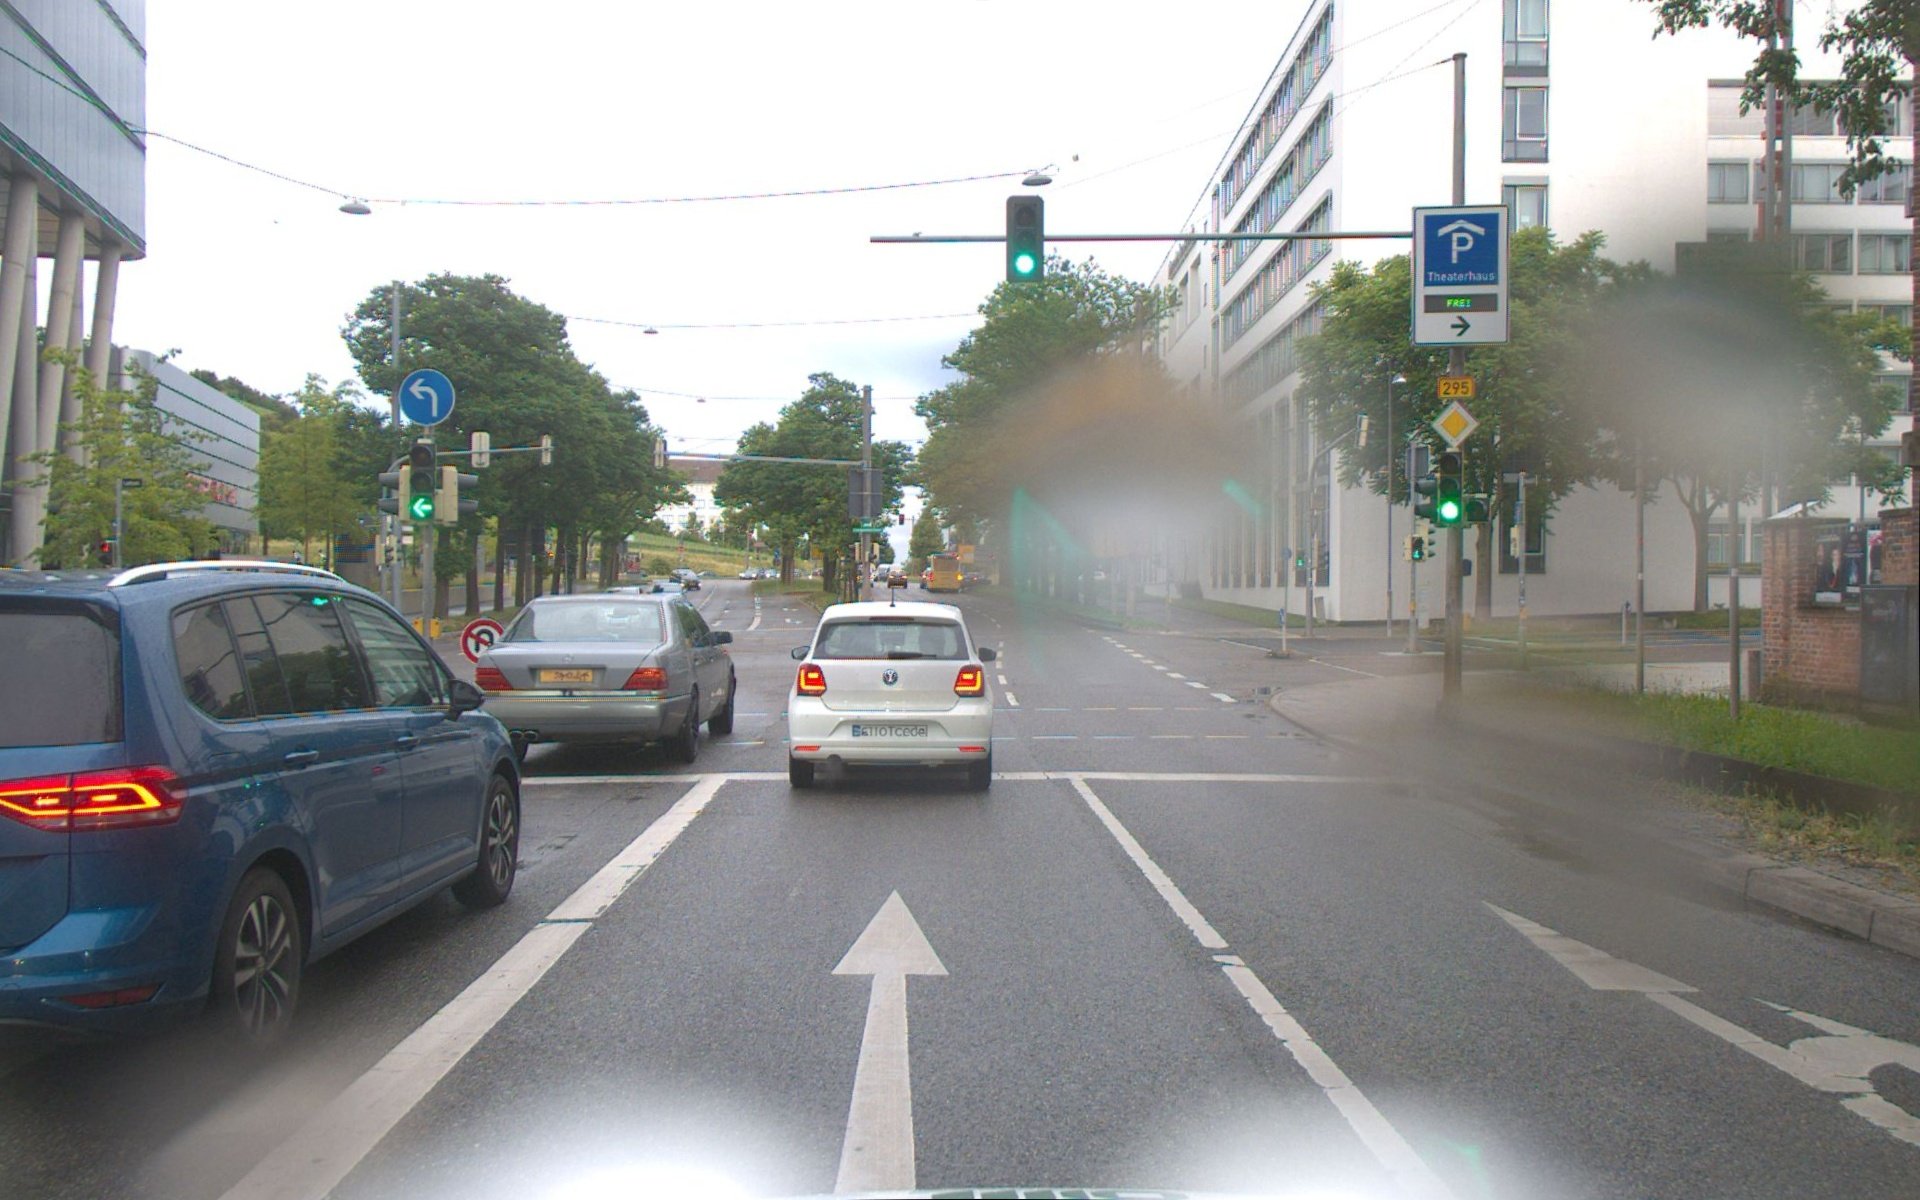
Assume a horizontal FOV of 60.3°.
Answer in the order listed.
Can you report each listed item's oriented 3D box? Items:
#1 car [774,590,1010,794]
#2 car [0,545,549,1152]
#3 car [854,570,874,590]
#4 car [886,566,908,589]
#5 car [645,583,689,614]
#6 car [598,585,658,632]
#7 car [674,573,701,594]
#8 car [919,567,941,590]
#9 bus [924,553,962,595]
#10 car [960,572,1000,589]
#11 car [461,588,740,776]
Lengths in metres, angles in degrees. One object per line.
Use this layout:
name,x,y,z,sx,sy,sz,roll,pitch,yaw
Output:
car,-0.573,0.691,14.463,1.758,1.528,3.998,1,0,-2
car,-3.038,0.670,6.538,1.736,1.624,4.197,-1,0,0
car,-8.903,-1.856,152.852,1.759,1.772,3.997,-1,0,-4
car,-5.756,-2.036,151.492,1.954,2.049,3.998,0,0,-3
car,-14.480,-0.103,81.871,1.779,1.436,4.650,-2,1,-6
car,-11.835,0.281,59.114,1.716,1.547,3.813,-1,1,-6
car,-22.733,-1.364,138.133,1.955,1.644,5.113,-2,2,-7
car,-2.768,-1.996,152.729,1.954,2.049,3.998,0,0,-3
bus,-1.484,-2.213,139.040,2.772,3.323,9.995,1,1,-3
car,1.852,-1.759,151.461,1.670,1.542,3.805,0,0,42
car,-3.260,0.675,15.787,1.809,1.537,4.047,-1,0,-1
